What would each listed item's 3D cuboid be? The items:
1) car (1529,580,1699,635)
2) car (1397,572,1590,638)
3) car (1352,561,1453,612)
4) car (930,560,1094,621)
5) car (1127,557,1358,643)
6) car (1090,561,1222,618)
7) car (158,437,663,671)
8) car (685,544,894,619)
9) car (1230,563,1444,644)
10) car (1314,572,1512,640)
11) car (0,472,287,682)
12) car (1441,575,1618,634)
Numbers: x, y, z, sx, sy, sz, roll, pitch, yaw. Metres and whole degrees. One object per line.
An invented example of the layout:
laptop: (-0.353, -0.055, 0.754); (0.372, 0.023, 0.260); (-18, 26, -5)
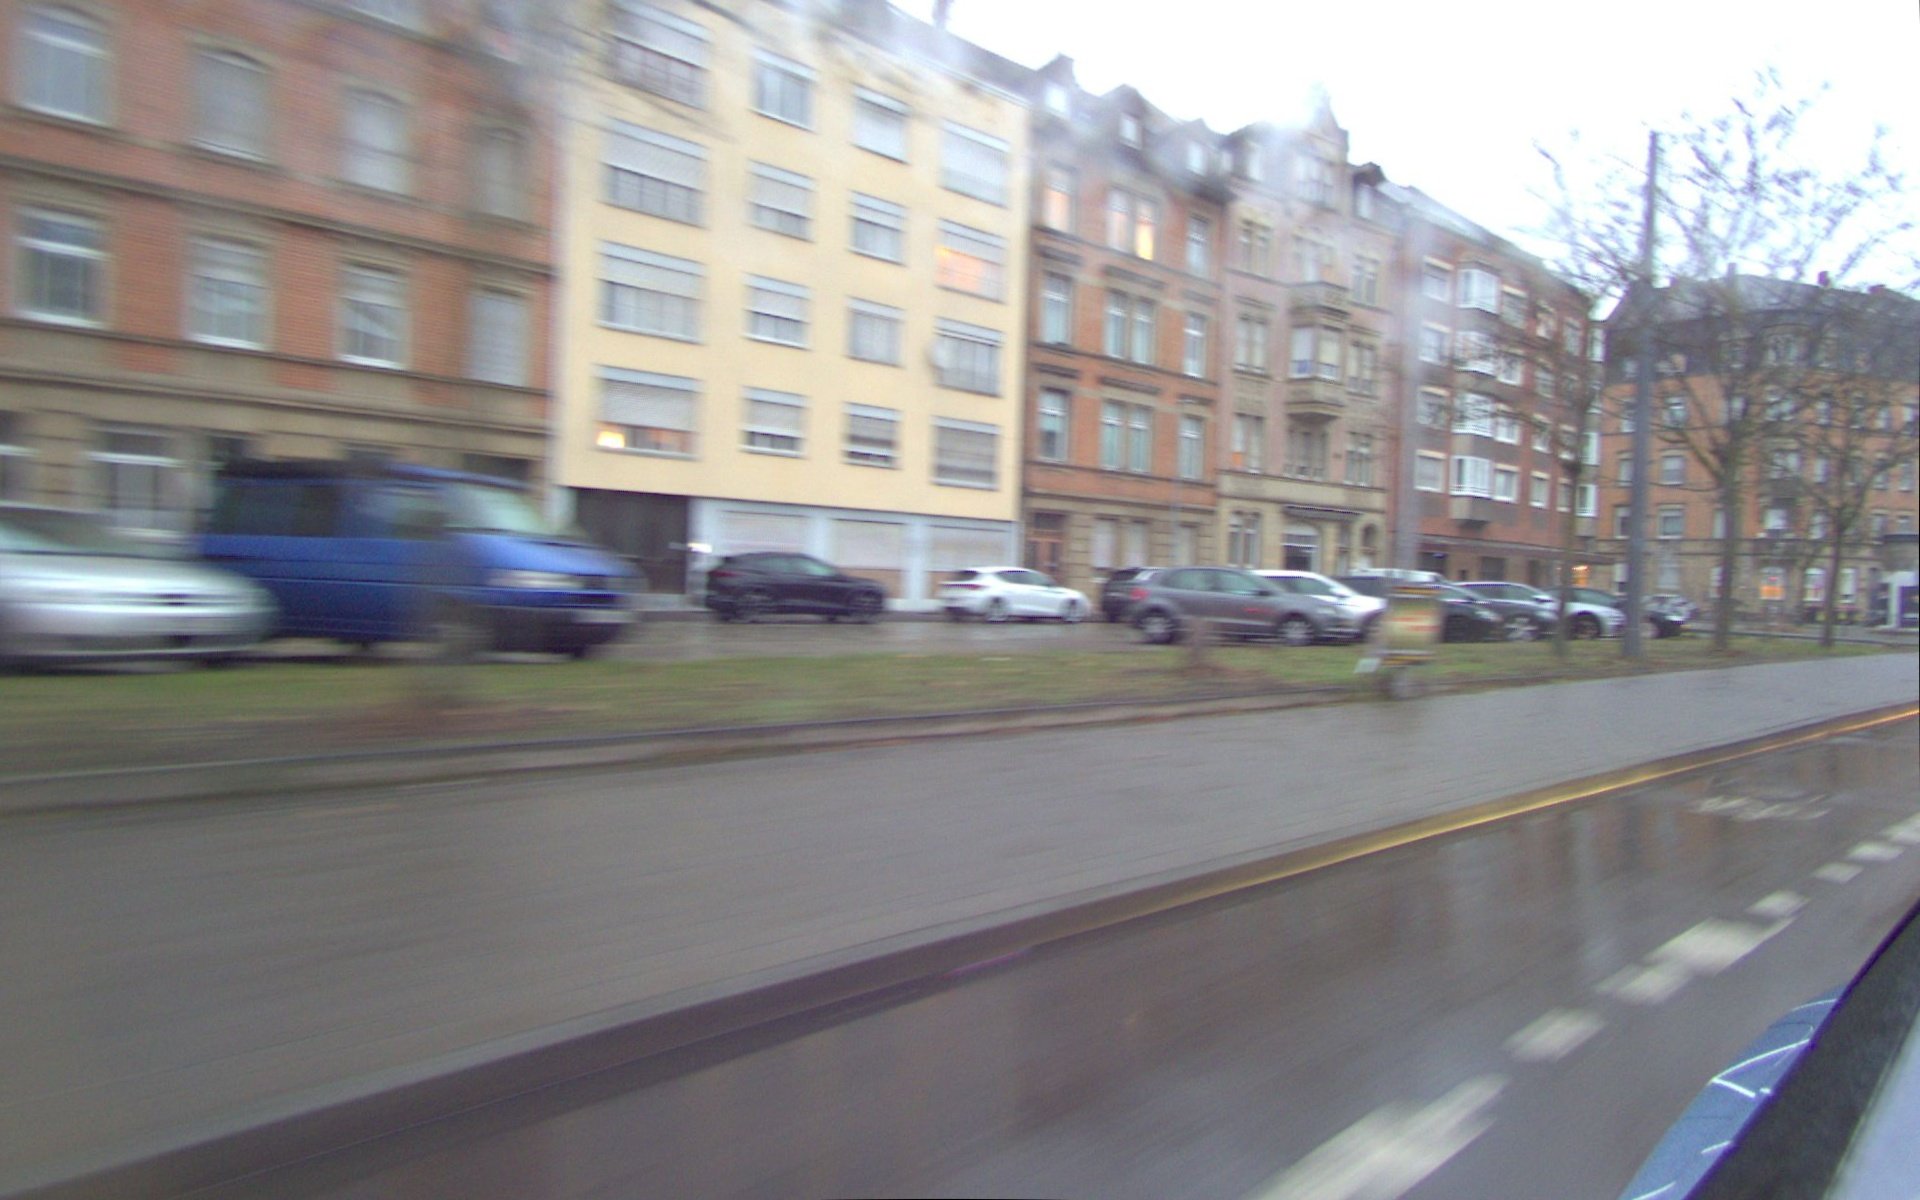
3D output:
car: (17.439, 0.162, 27.196); (3.735, 1.371, 1.584); (1, 1, 31)
car: (12.015, 0.078, 23.072); (3.726, 1.294, 1.588); (3, 1, 24)
car: (15.801, -0.486, 36.127); (3.397, 1.725, 1.676); (-1, 0, -32)
car: (1.400, -0.253, 26.478); (4.099, 1.496, 1.752); (-1, 0, -36)
car: (5.117, -0.018, 18.335); (3.833, 1.423, 1.680); (0, 0, 25)
car: (5.750, -0.297, 29.569); (3.797, 1.562, 1.475); (1, 2, -34)
car: (-5.540, -0.434, 10.279); (4.659, 2.007, 1.789); (1, 0, 18)
car: (-3.706, -0.397, 22.185); (4.131, 1.463, 1.746); (1, 3, -32)
car: (7.432, 0.013, 20.030); (3.736, 1.349, 1.585); (3, 3, 31)
car: (9.695, 0.083, 21.715); (3.735, 1.348, 1.584); (1, 1, 31)
car: (-7.752, -0.164, 8.292); (3.946, 1.433, 1.633); (0, 0, 18)
car: (14.049, 0.070, 25.108); (3.735, 1.371, 1.584); (1, 1, 31)
